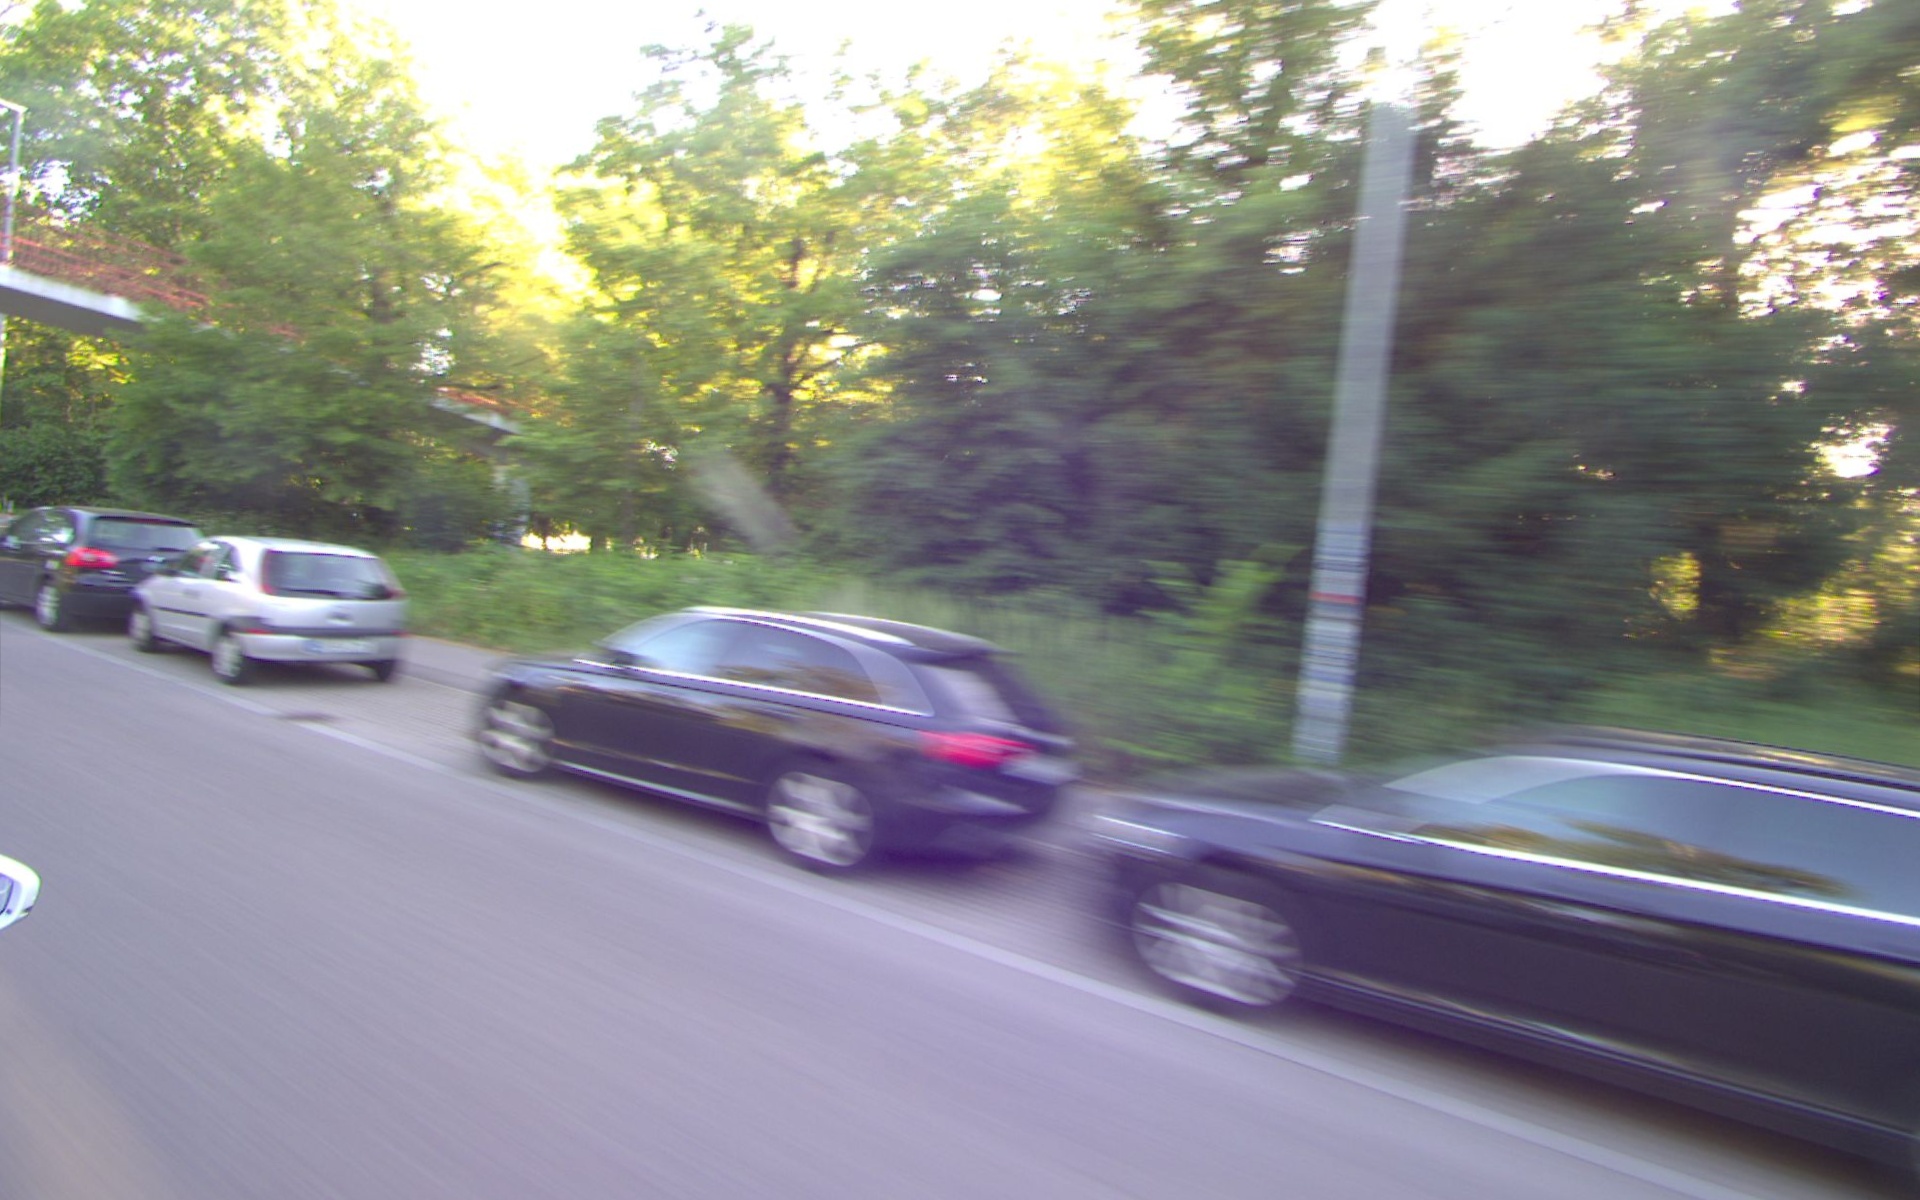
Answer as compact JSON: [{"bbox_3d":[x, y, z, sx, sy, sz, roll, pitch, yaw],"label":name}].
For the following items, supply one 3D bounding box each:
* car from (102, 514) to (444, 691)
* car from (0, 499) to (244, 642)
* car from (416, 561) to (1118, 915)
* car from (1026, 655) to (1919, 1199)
[{"bbox_3d":[-7.744,-0.014,11.238,3.950,1.472,1.774,7,1,35],"label":"car"},{"bbox_3d":[-11.529,-0.452,13.319,4.316,1.472,1.775,7,1,32],"label":"car"},{"bbox_3d":[-1.571,0.728,7.285,4.953,1.472,1.776,7,1,30],"label":"car"},{"bbox_3d":[2.864,1.280,4.348,4.815,1.472,1.639,7,1,30],"label":"car"}]
